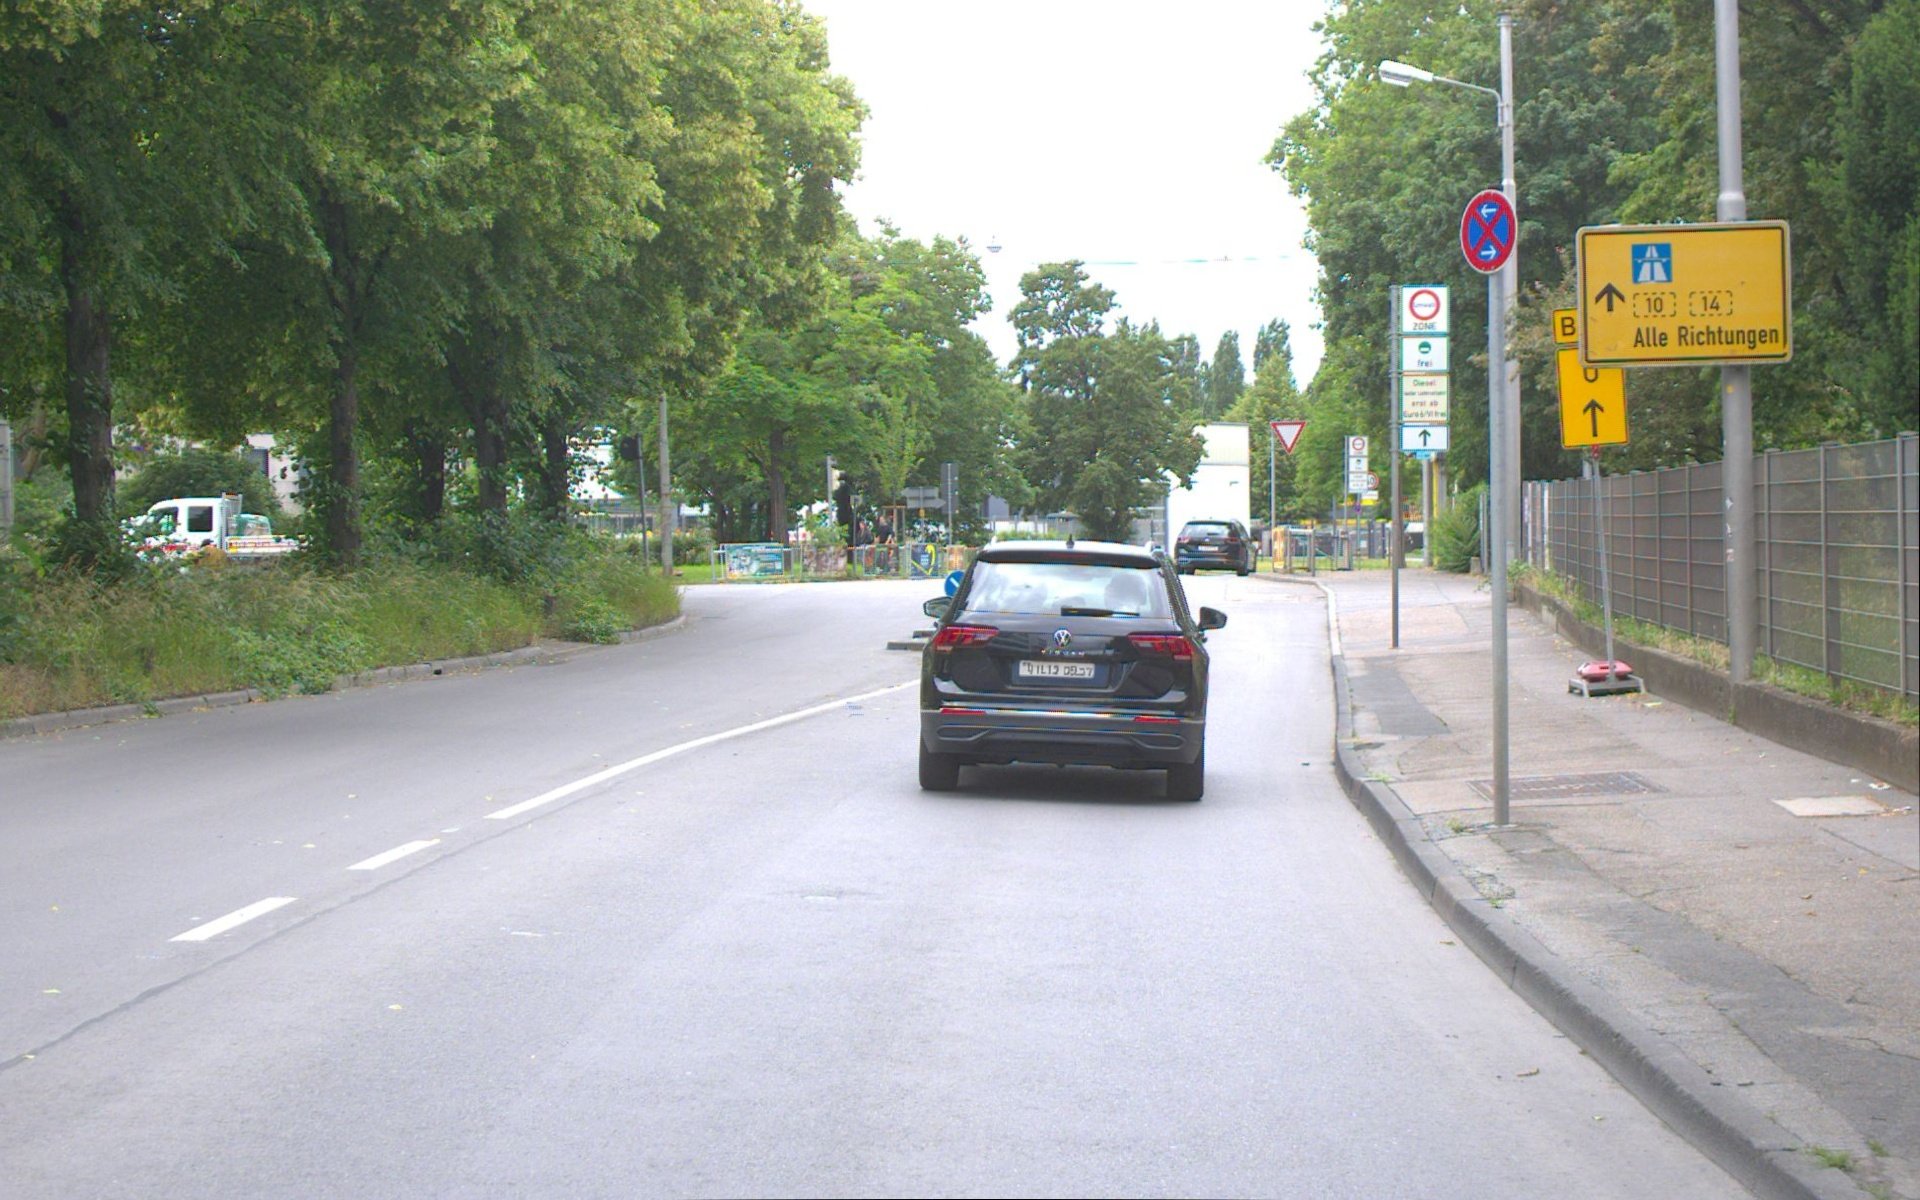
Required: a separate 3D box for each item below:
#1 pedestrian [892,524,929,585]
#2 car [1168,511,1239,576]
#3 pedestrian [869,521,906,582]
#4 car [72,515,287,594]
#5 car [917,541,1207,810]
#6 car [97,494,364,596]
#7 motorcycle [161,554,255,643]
[{"bbox_3d":[-1.412,-1.303,98.511,0.725,1.736,0.743,-2,2,-44],"label":"pedestrian"},{"bbox_3d":[6.150,-1.422,86.637,1.659,1.569,3.828,-1,1,5],"label":"car"},{"bbox_3d":[-2.071,-1.380,98.102,0.725,1.736,0.743,-2,2,-44],"label":"pedestrian"},{"bbox_3d":[-20.140,-1.176,88.772,4.981,1.935,2.047,-1,1,11],"label":"car"},{"bbox_3d":[0.655,0.430,22.665,1.739,1.612,3.641,1,1,1],"label":"car"},{"bbox_3d":[-18.000,-1.367,85.020,6.070,2.379,2.395,-1,1,-1],"label":"car"},{"bbox_3d":[-10.454,-0.033,47.857,0.566,1.164,2.035,-1,1,9],"label":"motorcycle"}]
